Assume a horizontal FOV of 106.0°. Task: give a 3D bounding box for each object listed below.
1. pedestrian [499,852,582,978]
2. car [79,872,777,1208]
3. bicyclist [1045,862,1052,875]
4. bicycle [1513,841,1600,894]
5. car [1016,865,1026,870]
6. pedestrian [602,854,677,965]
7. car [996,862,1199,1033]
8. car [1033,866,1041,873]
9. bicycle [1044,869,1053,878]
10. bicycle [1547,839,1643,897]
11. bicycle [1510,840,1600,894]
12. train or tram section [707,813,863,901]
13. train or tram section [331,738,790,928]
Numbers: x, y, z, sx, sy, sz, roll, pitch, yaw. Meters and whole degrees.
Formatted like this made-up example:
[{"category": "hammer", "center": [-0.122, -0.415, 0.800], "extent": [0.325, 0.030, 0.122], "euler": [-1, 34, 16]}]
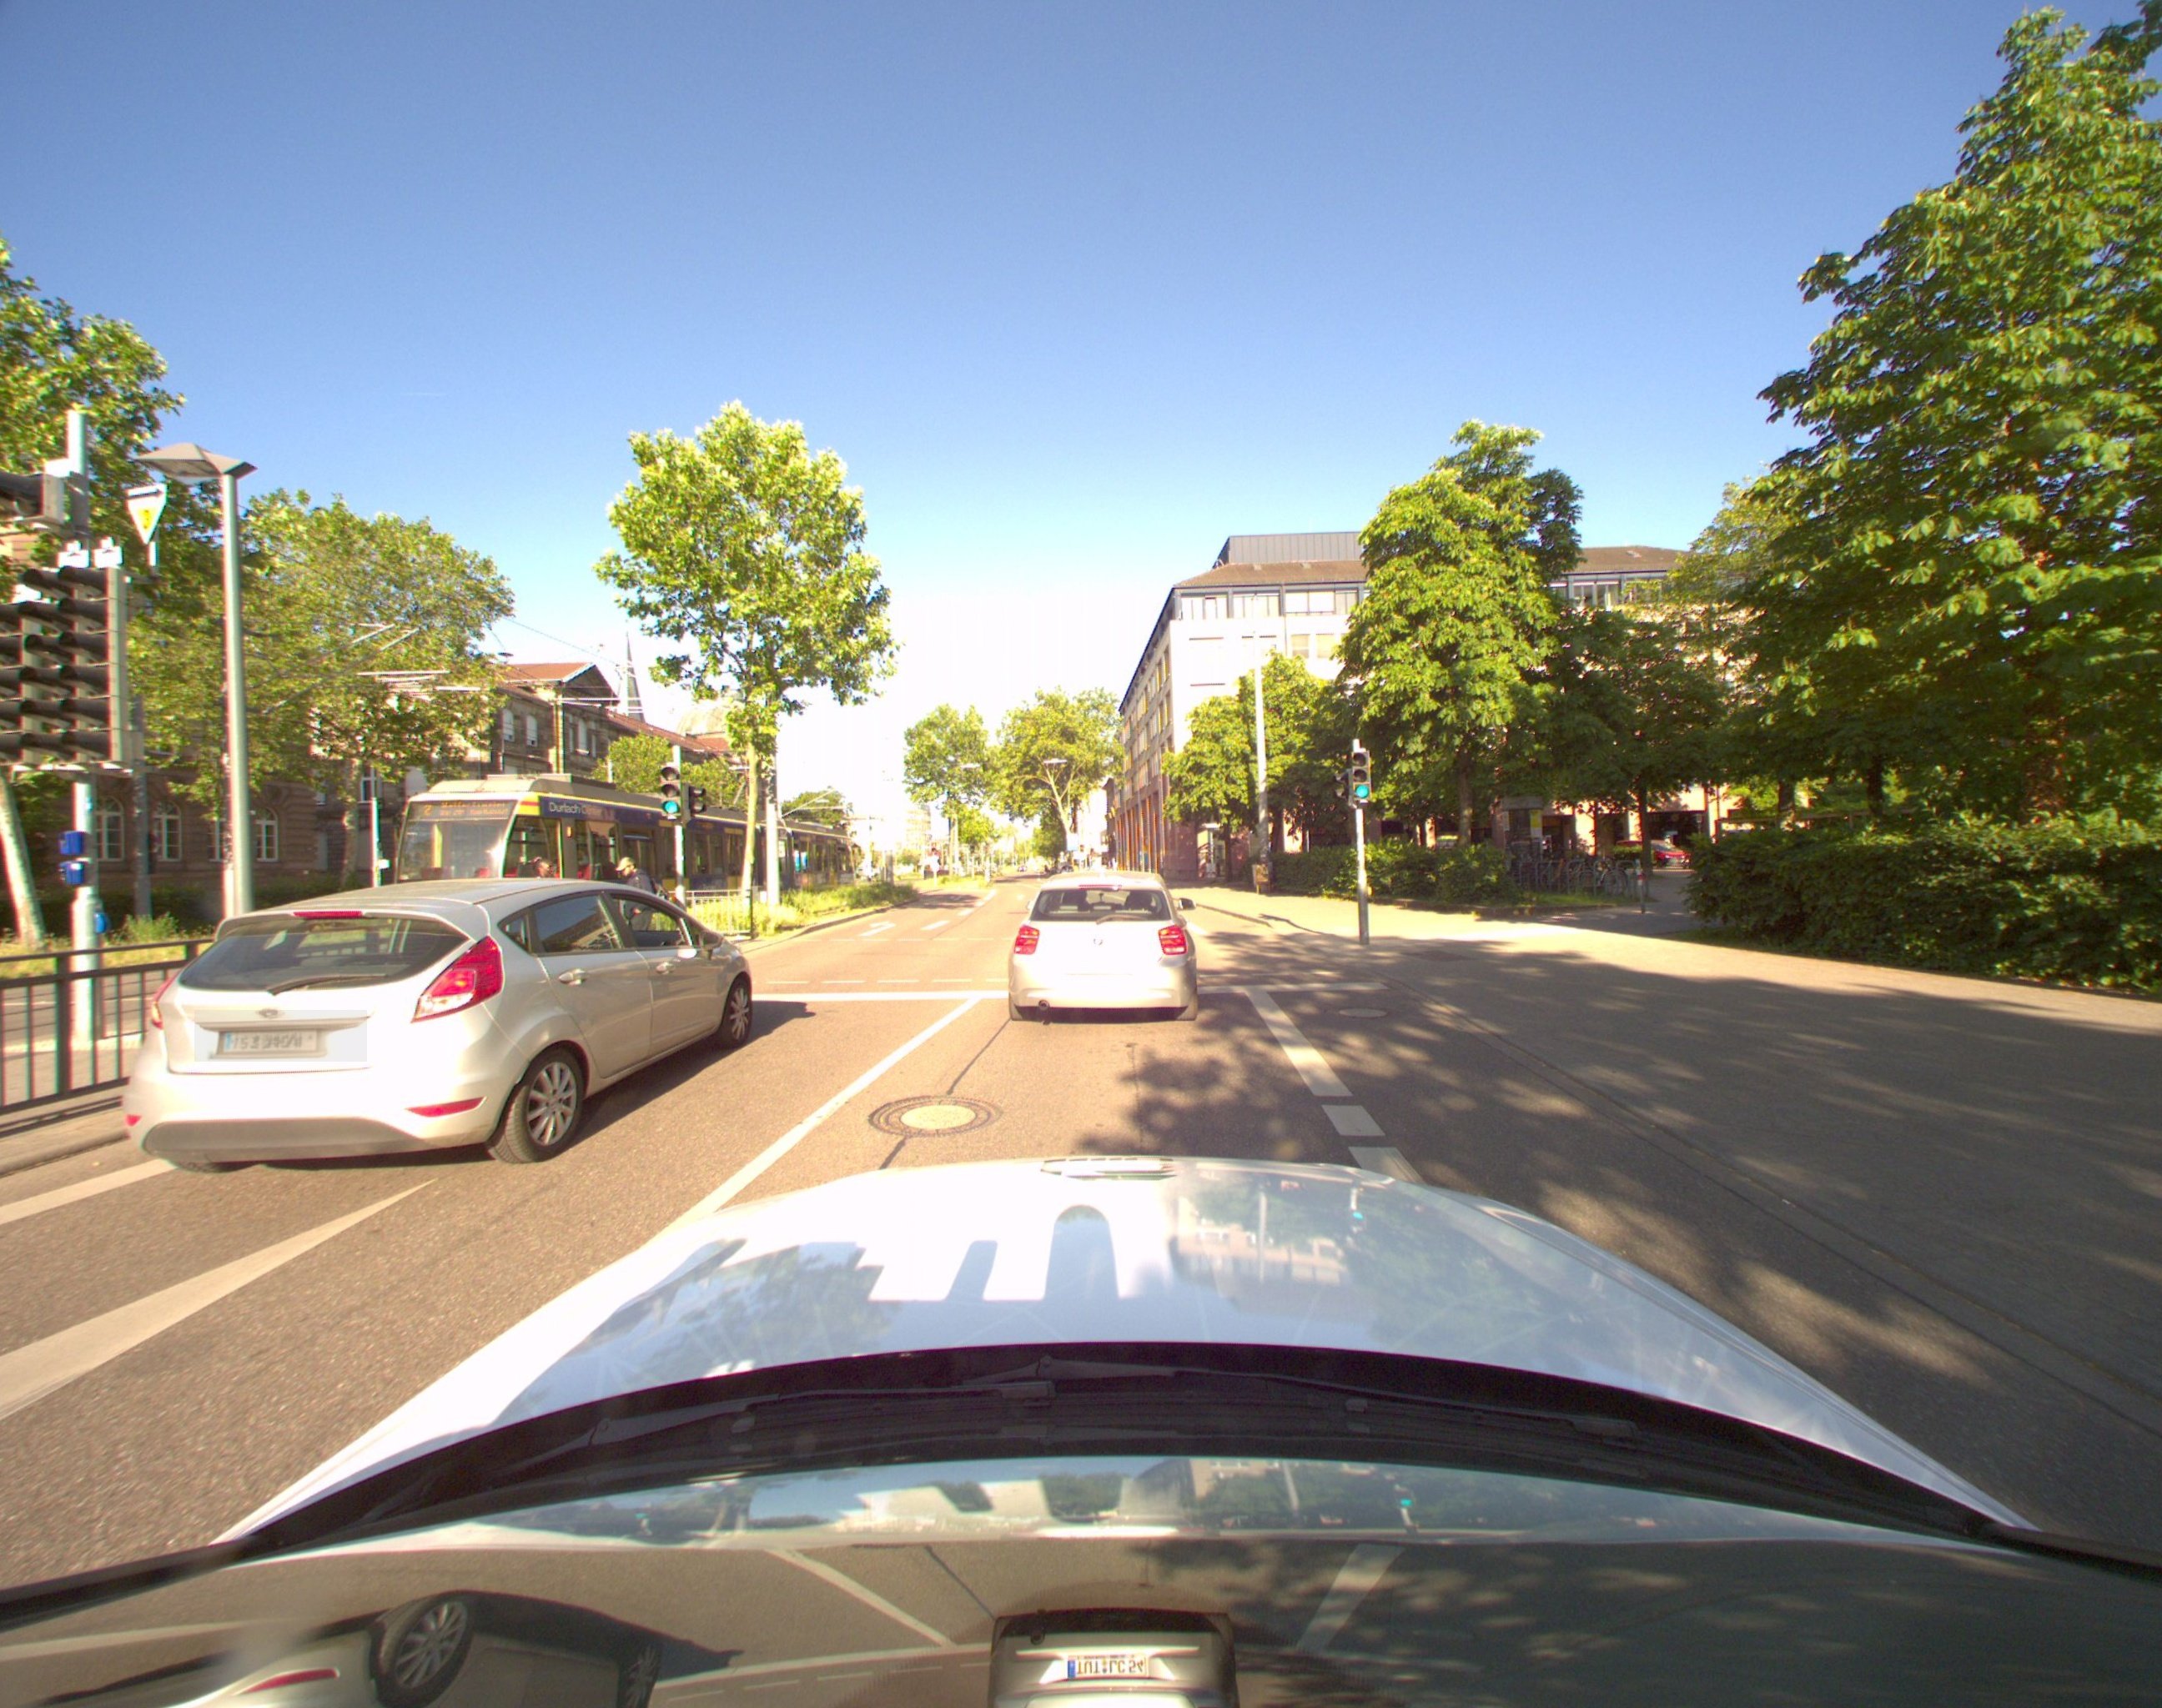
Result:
[{"category": "pedestrian", "center": [-6.989, 0.767, 10.554], "extent": [0.630, 1.557, 0.645], "euler": [-2, -1, -7]}, {"category": "car", "center": [-3.490, 0.836, 5.341], "extent": [1.655, 1.409, 3.630], "euler": [-1, -1, -1]}, {"category": "bicyclist", "center": [-4.004, 1.774, 99.698], "extent": [0.655, 1.657, 0.766], "euler": [-3, -1, 6]}, {"category": "bicycle", "center": [13.024, 0.356, 22.340], "extent": [1.990, 1.314, 0.574], "euler": [-3, -1, 0]}, {"category": "car", "center": [-15.932, 3.603, 216.501], "extent": [1.994, 1.486, 3.985], "euler": [-2, -1, -11]}, {"category": "pedestrian", "center": [-6.798, 0.827, 12.530], "extent": [0.947, 1.629, 0.622], "euler": [0, -1, -35]}, {"category": "car", "center": [0.297, 0.812, 8.851], "extent": [1.722, 1.390, 3.845], "euler": [0, 0, 5]}, {"category": "car", "center": [-13.441, 4.854, 249.857], "extent": [1.986, 2.014, 4.001], "euler": [0, -2, 2]}, {"category": "bicycle", "center": [-3.960, 2.392, 99.730], "extent": [0.827, 1.041, 1.878], "euler": [-3, -1, 7]}, {"category": "bicycle", "center": [12.865, 0.355, 20.409], "extent": [1.990, 1.314, 0.574], "euler": [-3, -1, 0]}, {"category": "bicycle", "center": [12.635, 0.337, 21.724], "extent": [1.990, 1.314, 0.574], "euler": [-3, -1, 0]}, {"category": "train or tram section", "center": [-12.618, 0.300, 36.490], "extent": [2.908, 3.260, 13.093], "euler": [0, -2, -4]}, {"category": "train or tram section", "center": [-11.803, -0.134, 22.019], "extent": [2.908, 3.260, 15.872], "euler": [0, -2, -3]}]
